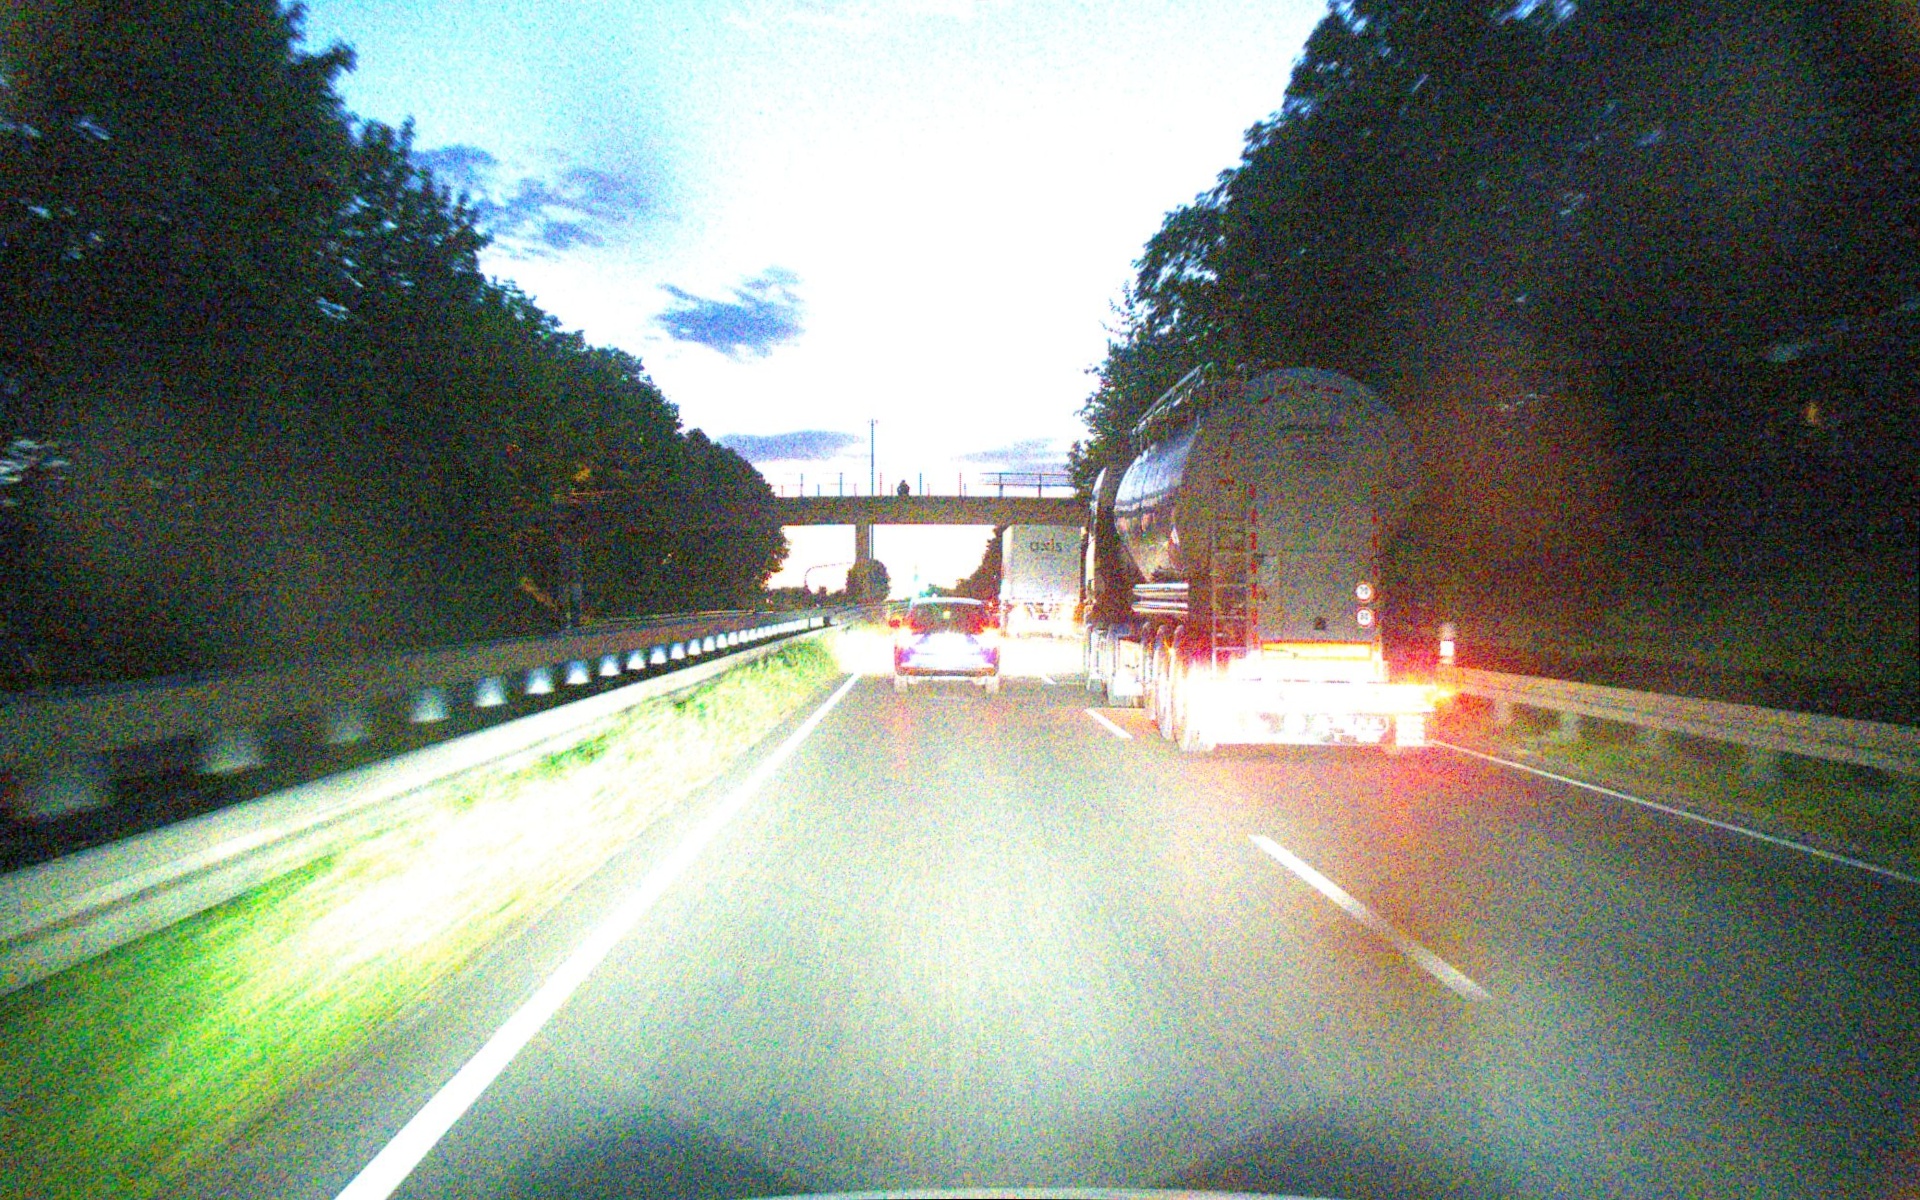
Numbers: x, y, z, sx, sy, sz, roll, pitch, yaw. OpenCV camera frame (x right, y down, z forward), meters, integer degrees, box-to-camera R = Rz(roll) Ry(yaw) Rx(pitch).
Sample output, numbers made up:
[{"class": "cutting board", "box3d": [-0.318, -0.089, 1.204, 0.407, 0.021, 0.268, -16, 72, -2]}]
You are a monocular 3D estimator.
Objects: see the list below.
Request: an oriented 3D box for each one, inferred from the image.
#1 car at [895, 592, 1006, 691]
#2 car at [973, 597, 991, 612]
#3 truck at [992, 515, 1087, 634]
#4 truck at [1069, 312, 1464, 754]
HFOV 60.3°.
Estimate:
[{"class": "car", "box3d": [-0.182, 0.629, 26.933, 1.661, 1.478, 3.913, 1, 0, -1]}, {"class": "car", "box3d": [2.300, 0.469, 173.931, 1.661, 1.478, 3.913, 1, 0, -1]}, {"class": "truck", "box3d": [2.919, -0.894, 64.716, 2.824, 4.178, 12.680, 1, 0, -1]}, {"class": "truck", "box3d": [3.361, -0.622, 22.354, 2.633, 4.178, 13.137, 1, 0, -1]}]
